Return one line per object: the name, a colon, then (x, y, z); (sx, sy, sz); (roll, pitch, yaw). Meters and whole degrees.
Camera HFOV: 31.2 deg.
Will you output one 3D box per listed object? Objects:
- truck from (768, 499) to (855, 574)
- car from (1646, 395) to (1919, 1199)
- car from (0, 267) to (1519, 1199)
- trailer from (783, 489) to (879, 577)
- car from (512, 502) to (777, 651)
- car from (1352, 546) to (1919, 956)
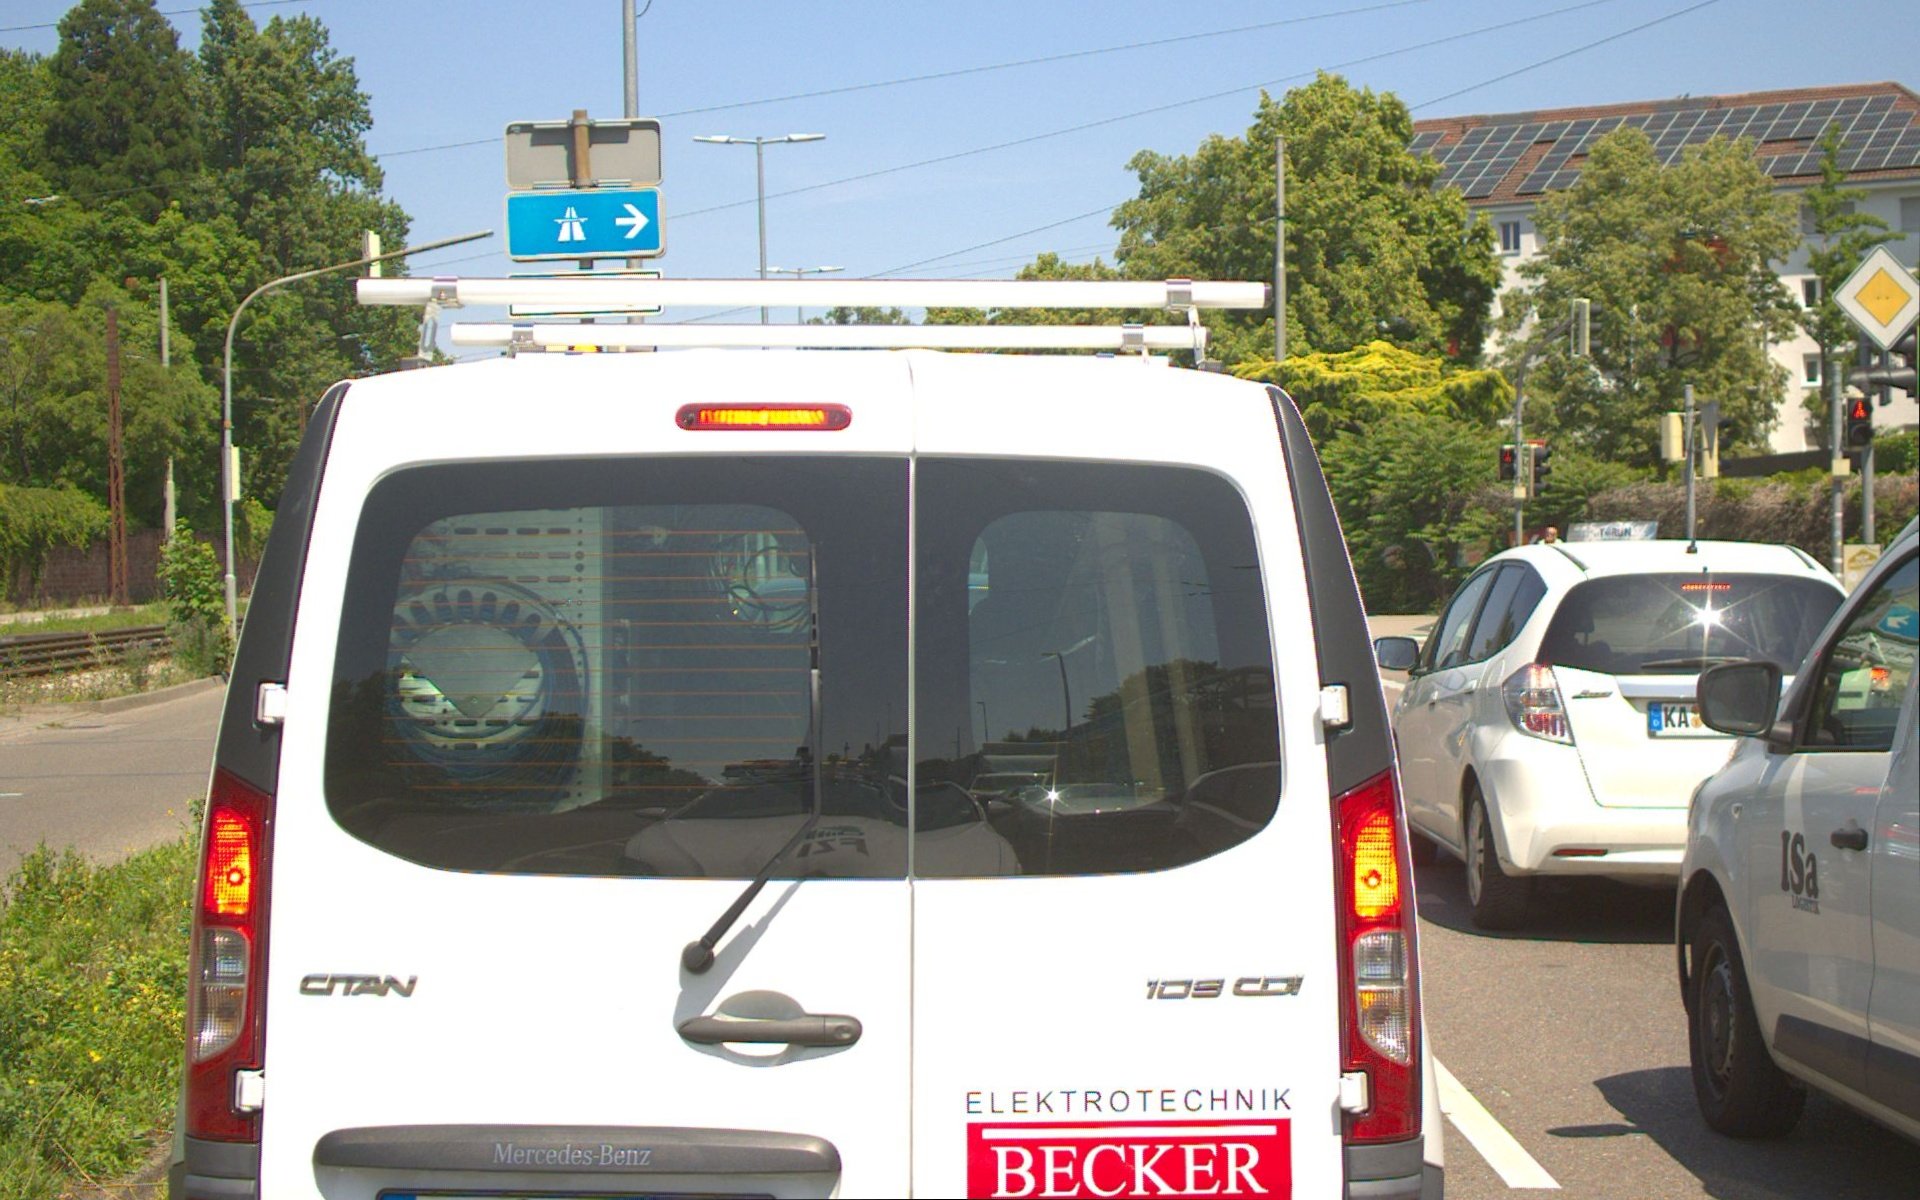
truck: (-7.490, -3.167, 172.297); (3.575, 3.620, 8.811); (-1, 1, -8)
car: (2.765, 0.501, 7.211); (1.710, 1.824, 4.014); (0, 1, -2)
car: (-0.296, 0.485, 6.158); (1.866, 1.829, 3.849); (1, 1, -1)
trailer: (-6.195, -3.195, 163.397); (3.527, 4.037, 8.979); (-1, 1, -8)
car: (-4.508, -0.350, 48.738); (1.994, 2.007, 3.999); (-1, 1, -35)
car: (2.801, 0.526, 14.630); (1.756, 1.481, 4.000); (1, 1, -1)
